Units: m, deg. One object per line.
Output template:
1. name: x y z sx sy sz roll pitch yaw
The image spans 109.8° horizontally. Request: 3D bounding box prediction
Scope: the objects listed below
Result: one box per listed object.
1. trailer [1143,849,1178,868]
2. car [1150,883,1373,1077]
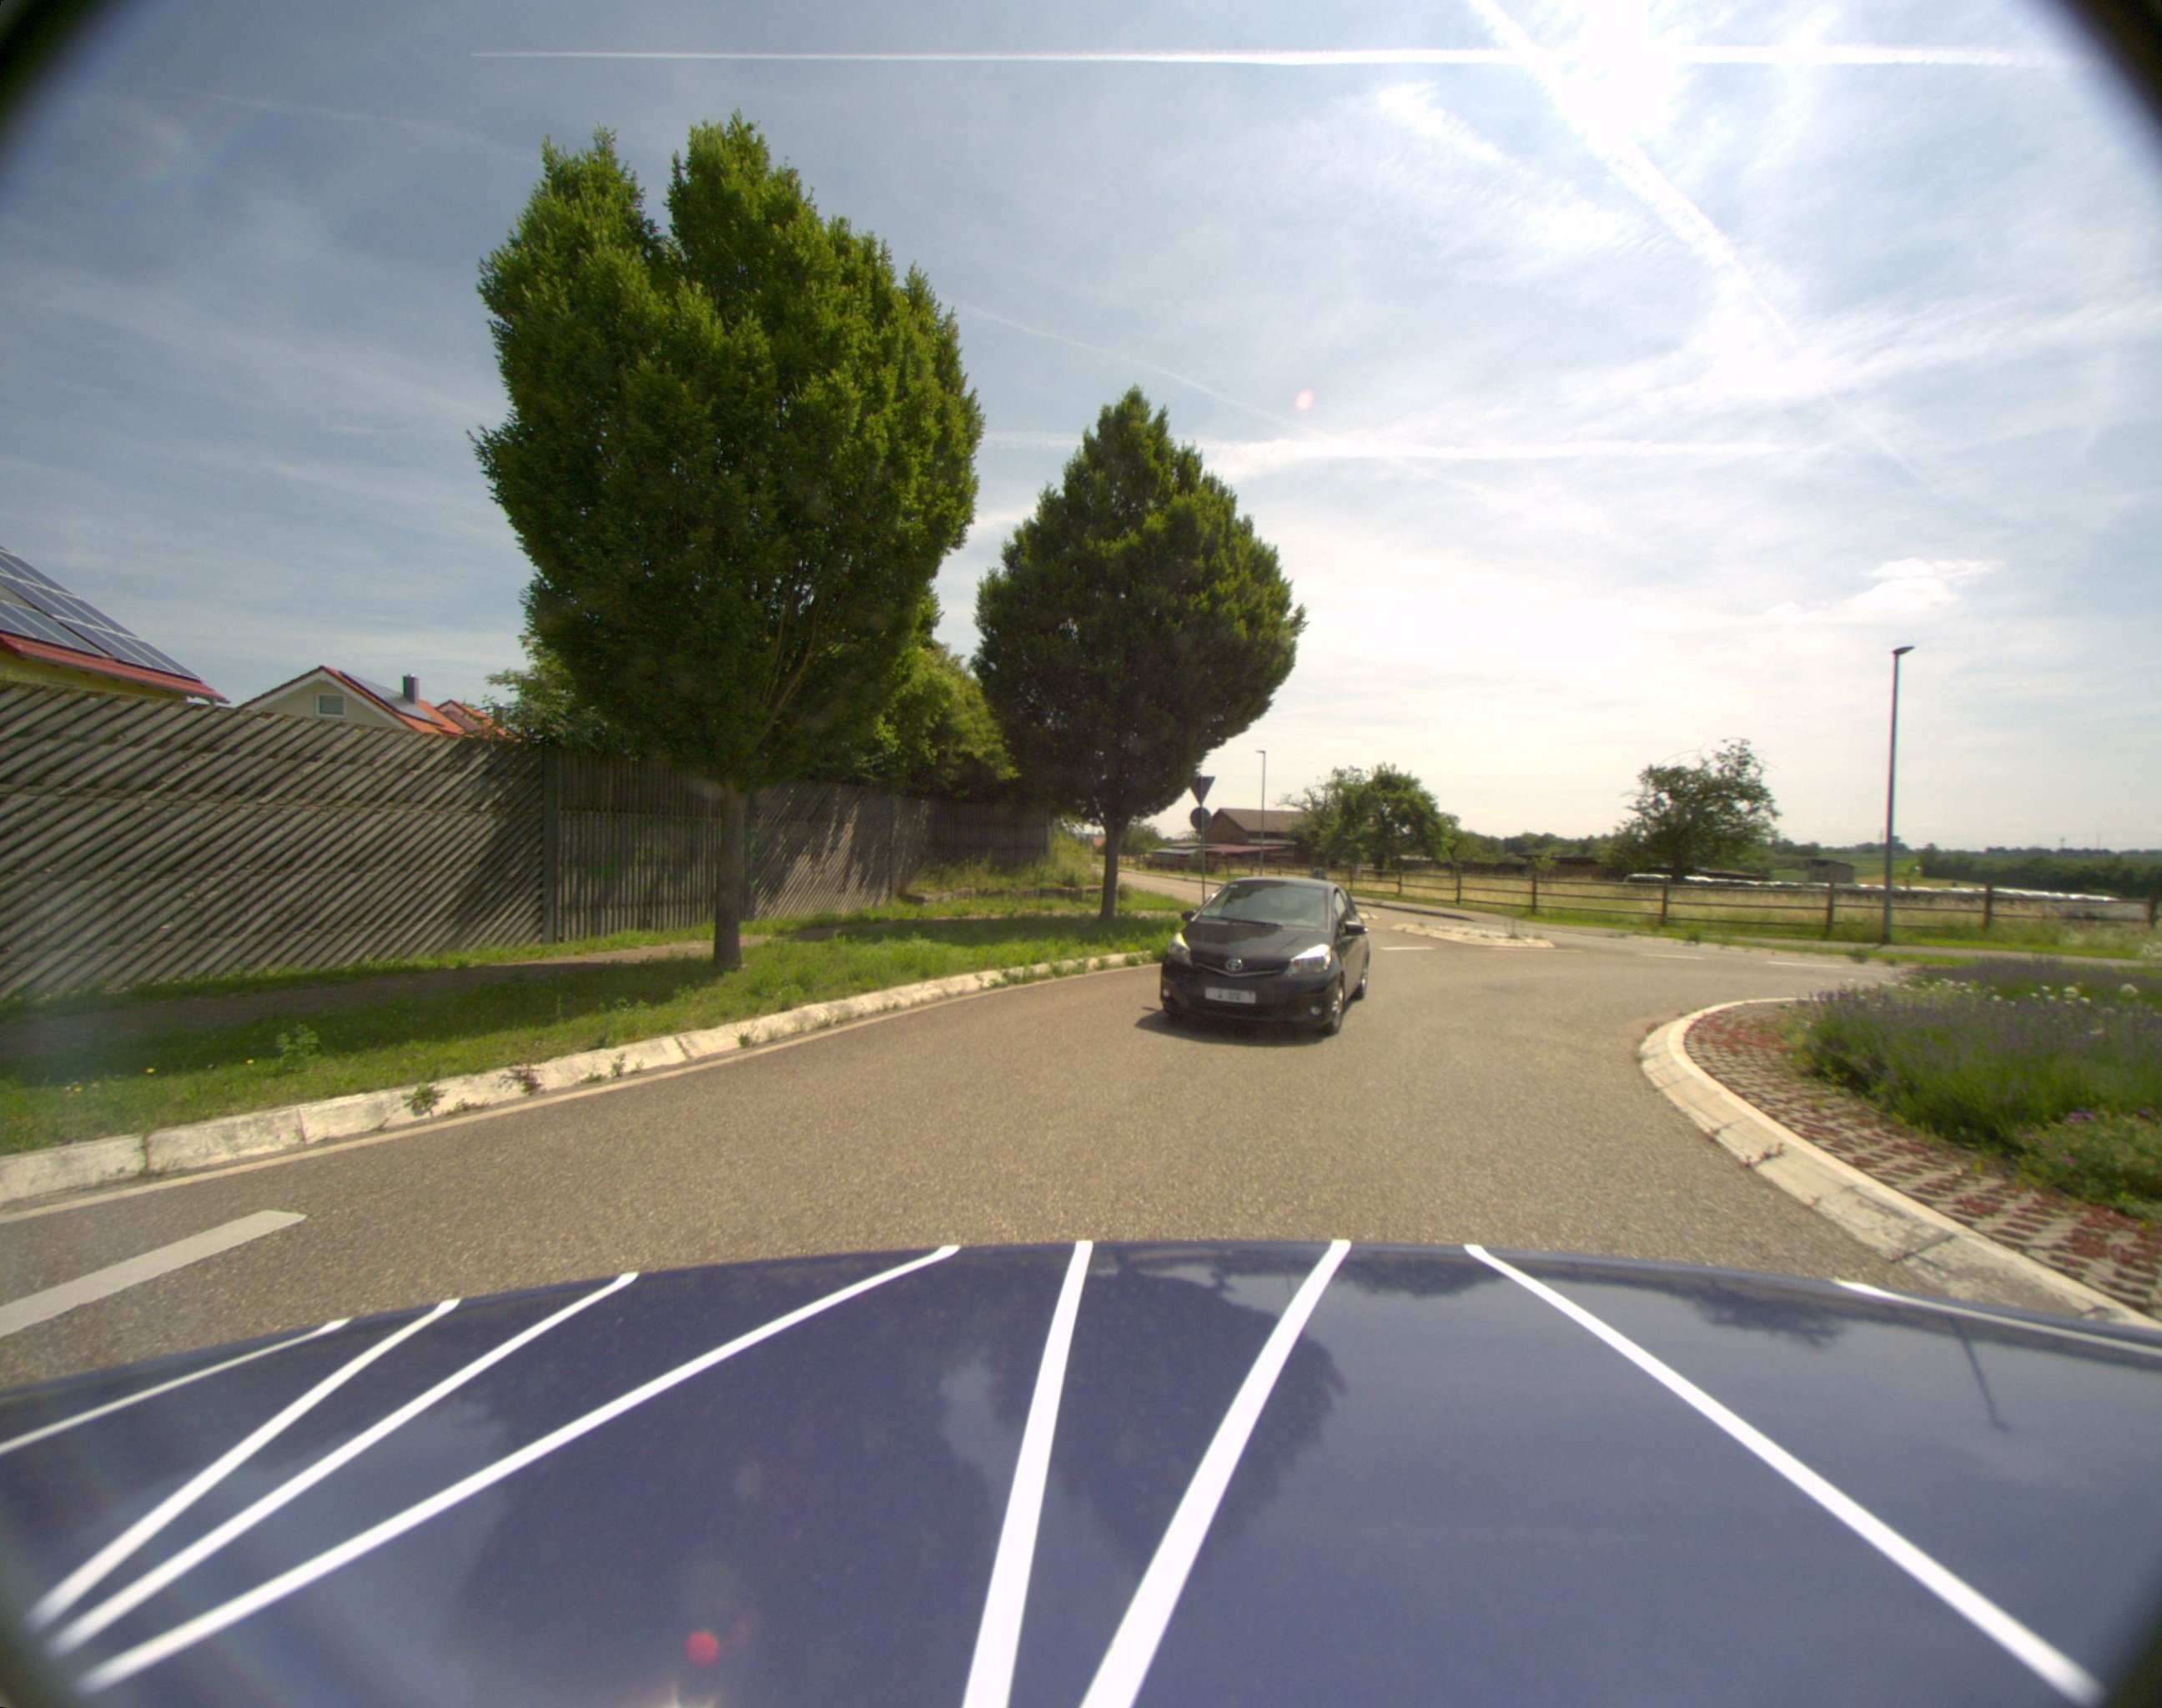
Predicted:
1. trailer: 7.937 0.424 76.356 2.162 1.693 5.024 3 1 -9
2. car: 2.307 1.138 8.647 1.674 1.456 4.441 1 0 23
